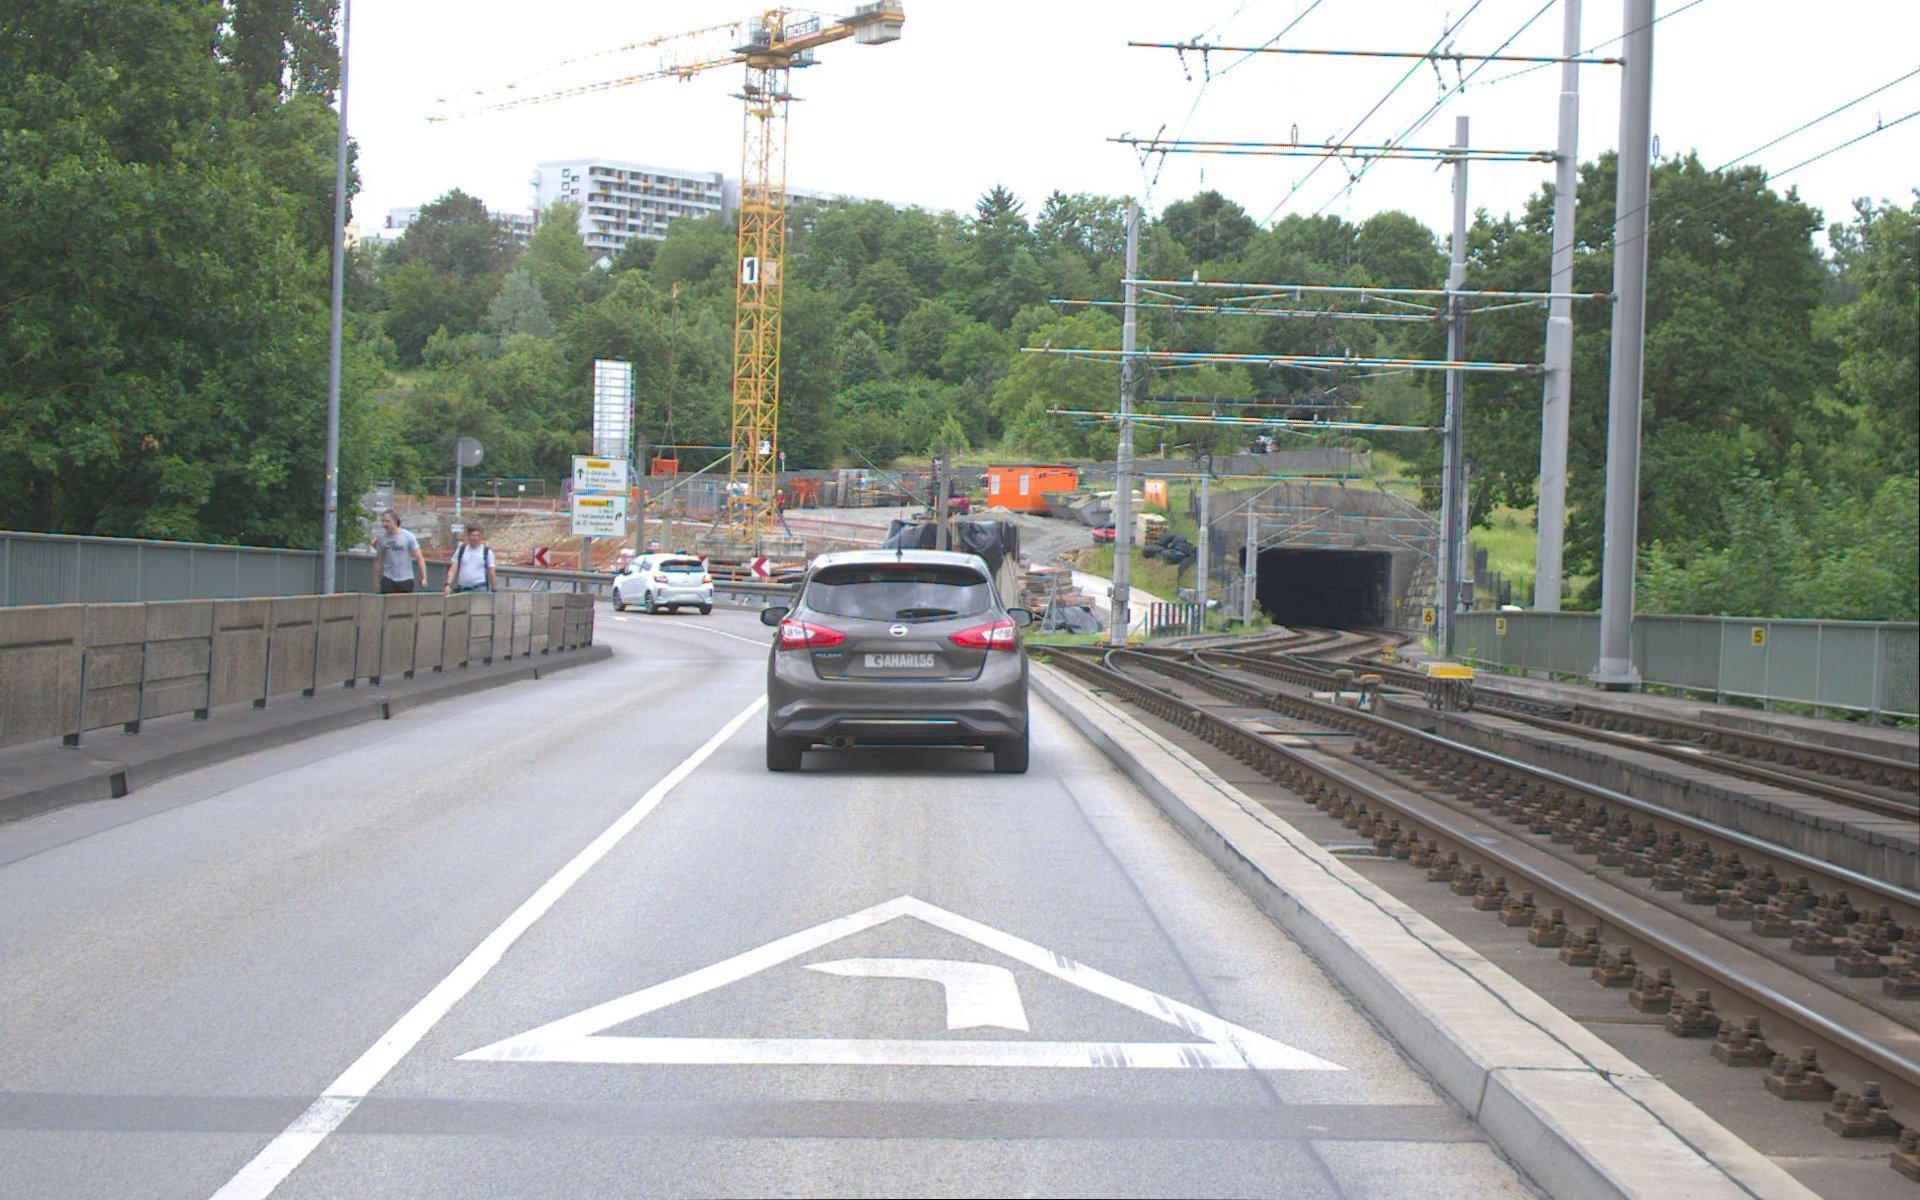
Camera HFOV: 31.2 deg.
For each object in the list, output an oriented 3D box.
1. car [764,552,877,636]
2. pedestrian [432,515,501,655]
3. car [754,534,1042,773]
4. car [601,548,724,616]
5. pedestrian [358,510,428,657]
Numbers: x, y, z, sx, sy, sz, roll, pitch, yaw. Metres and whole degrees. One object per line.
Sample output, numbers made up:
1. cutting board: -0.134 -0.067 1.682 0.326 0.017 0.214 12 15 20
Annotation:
1. car: -2.892 -0.155 70.604 1.679 1.601 4.310 1 1 -11
2. pedestrian: -6.114 -0.188 42.624 0.721 1.695 0.723 2 1 -1
3. car: -0.465 0.329 24.304 1.829 1.505 4.000 1 0 -2
4. car: -7.567 -0.466 86.995 1.679 1.601 4.310 1 1 -25
5. pedestrian: -7.193 -0.214 43.638 0.721 1.833 0.723 2 1 -1
